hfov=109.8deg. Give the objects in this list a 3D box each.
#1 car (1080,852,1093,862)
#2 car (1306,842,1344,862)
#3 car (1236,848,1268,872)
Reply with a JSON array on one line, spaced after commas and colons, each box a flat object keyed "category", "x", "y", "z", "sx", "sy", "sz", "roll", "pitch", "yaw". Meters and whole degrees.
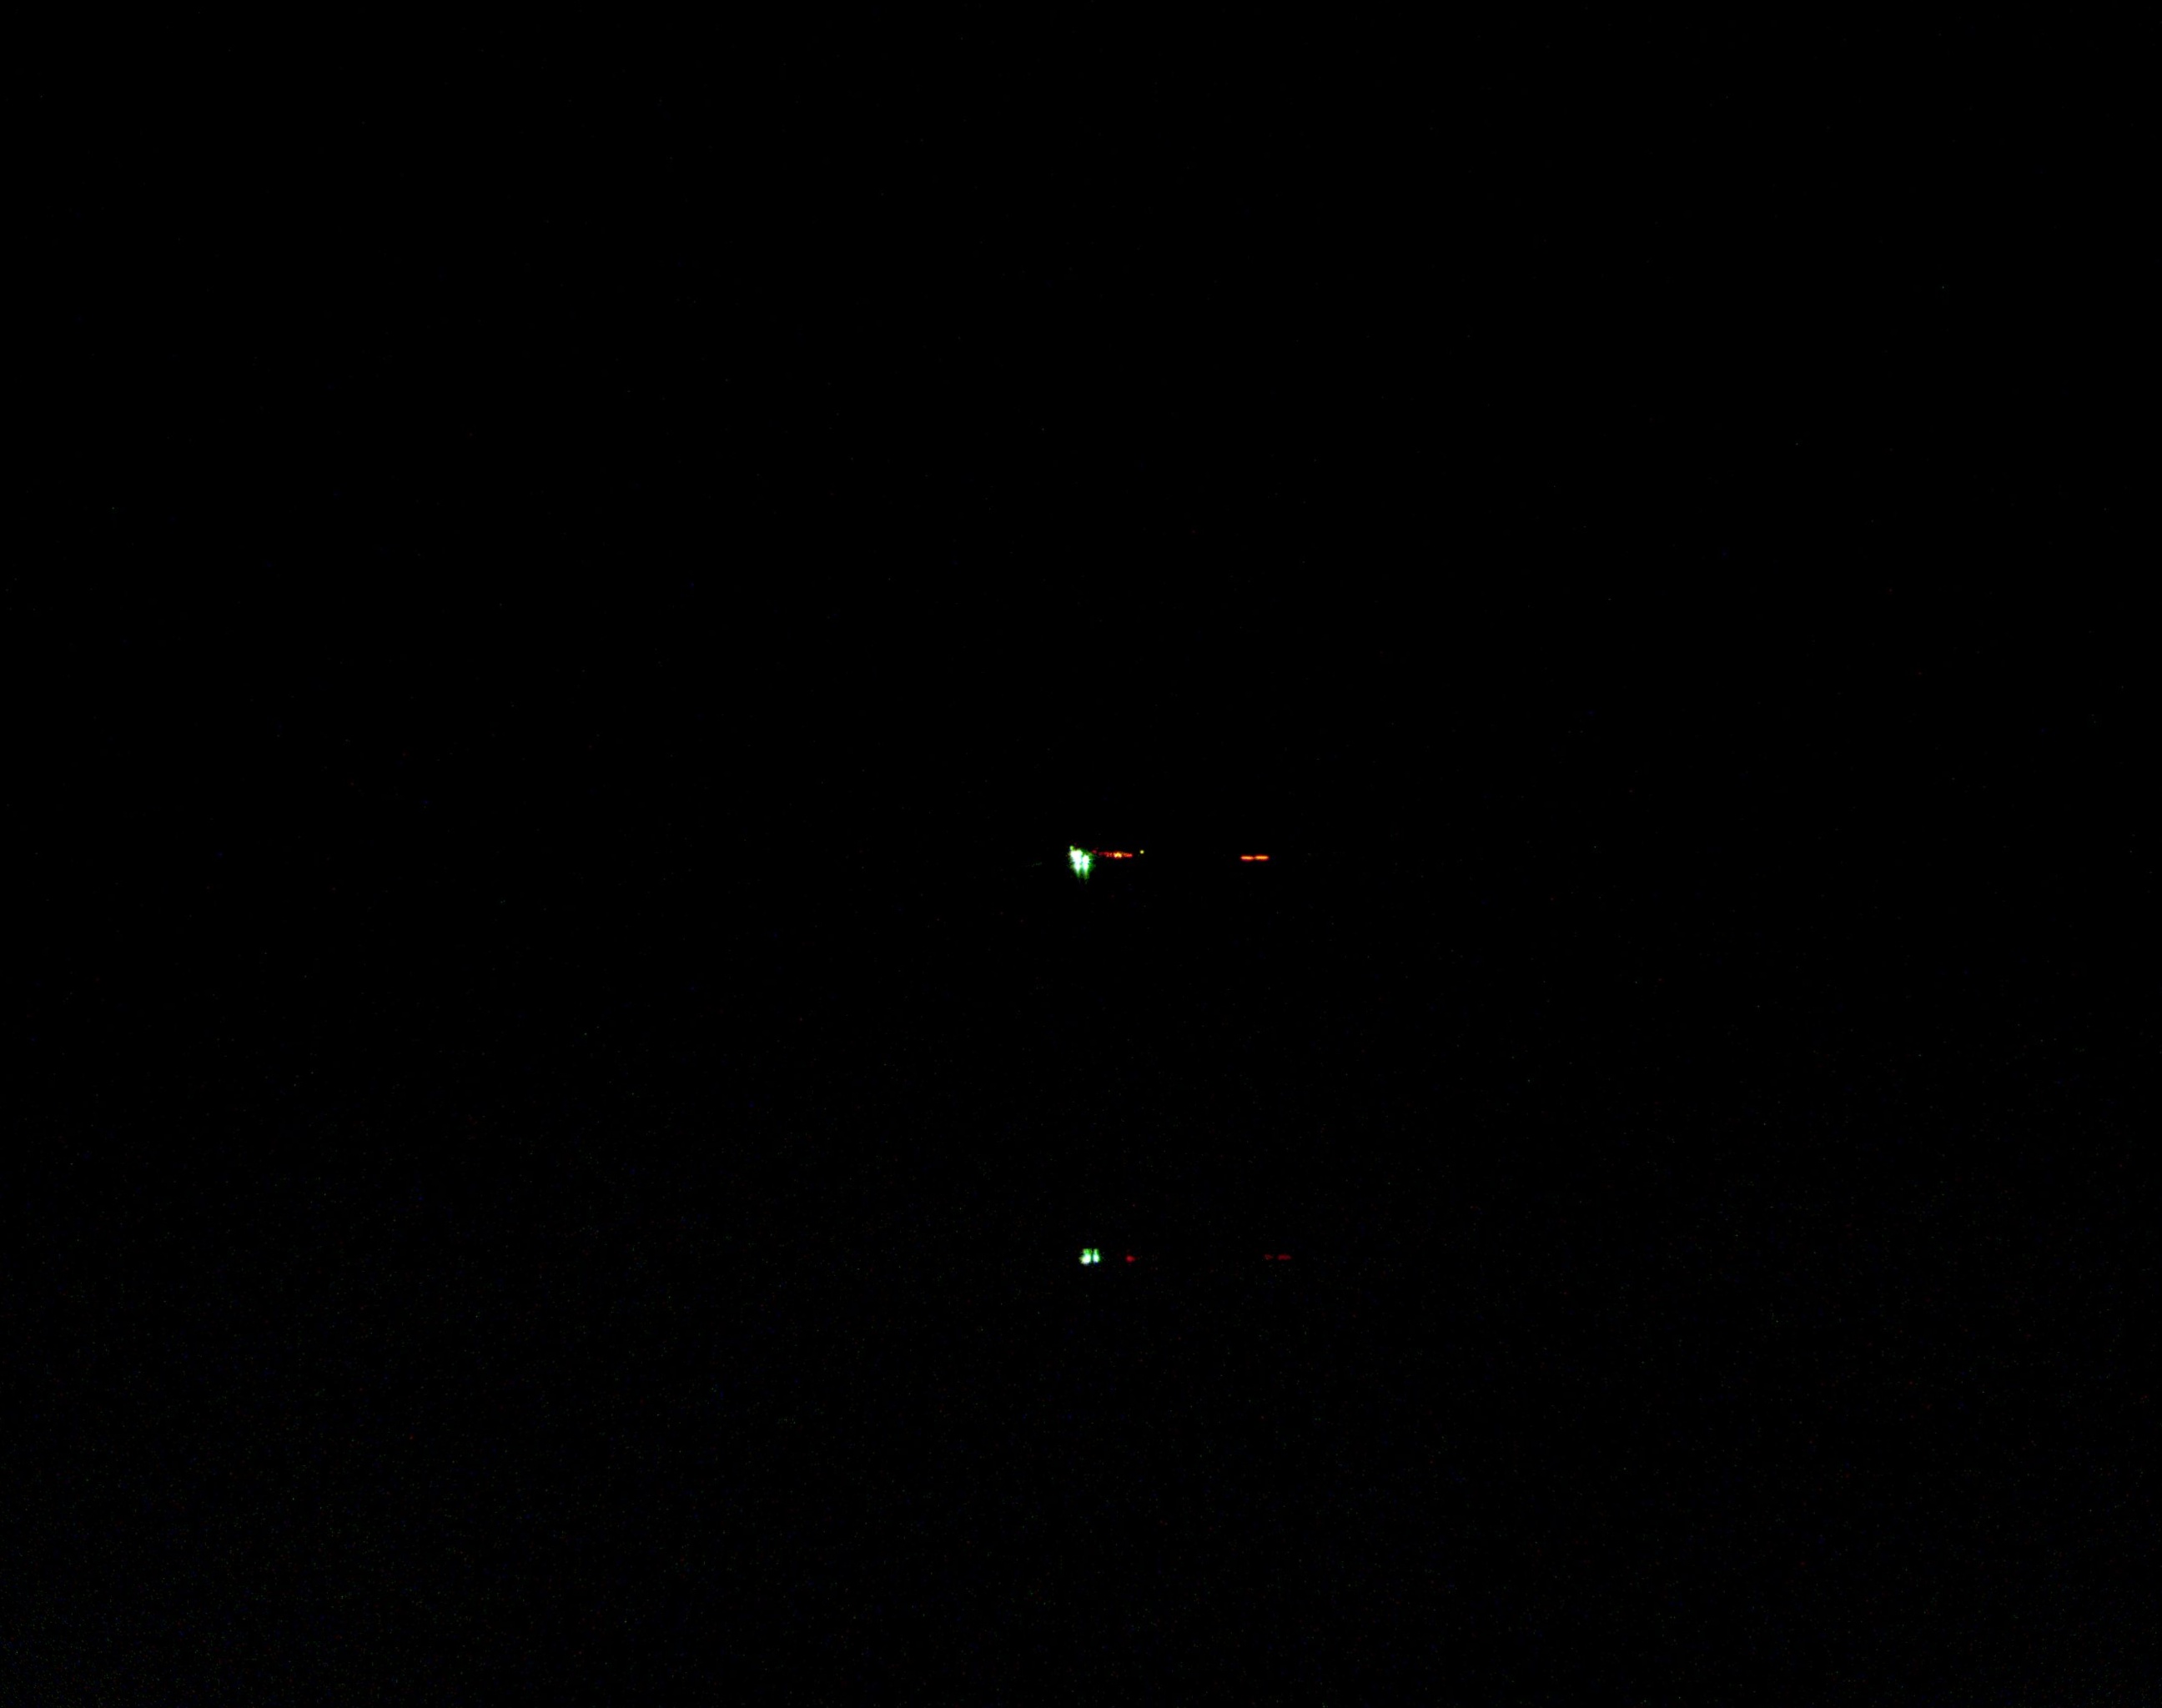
[{"category": "car", "x": 0.918, "y": 0.471, "z": 131.035, "sx": 2.154, "sy": 1.558, "sz": 4.581, "roll": -2, "pitch": 1, "yaw": 0}, {"category": "car", "x": 22.985, "y": -0.247, "z": 71.787, "sx": 1.998, "sy": 1.767, "sz": 5.089, "roll": -2, "pitch": 1, "yaw": 2}, {"category": "car", "x": 15.877, "y": 0.511, "z": 70.618, "sx": 1.998, "sy": 2.002, "sz": 4.605, "roll": -2, "pitch": 1, "yaw": 1}]
